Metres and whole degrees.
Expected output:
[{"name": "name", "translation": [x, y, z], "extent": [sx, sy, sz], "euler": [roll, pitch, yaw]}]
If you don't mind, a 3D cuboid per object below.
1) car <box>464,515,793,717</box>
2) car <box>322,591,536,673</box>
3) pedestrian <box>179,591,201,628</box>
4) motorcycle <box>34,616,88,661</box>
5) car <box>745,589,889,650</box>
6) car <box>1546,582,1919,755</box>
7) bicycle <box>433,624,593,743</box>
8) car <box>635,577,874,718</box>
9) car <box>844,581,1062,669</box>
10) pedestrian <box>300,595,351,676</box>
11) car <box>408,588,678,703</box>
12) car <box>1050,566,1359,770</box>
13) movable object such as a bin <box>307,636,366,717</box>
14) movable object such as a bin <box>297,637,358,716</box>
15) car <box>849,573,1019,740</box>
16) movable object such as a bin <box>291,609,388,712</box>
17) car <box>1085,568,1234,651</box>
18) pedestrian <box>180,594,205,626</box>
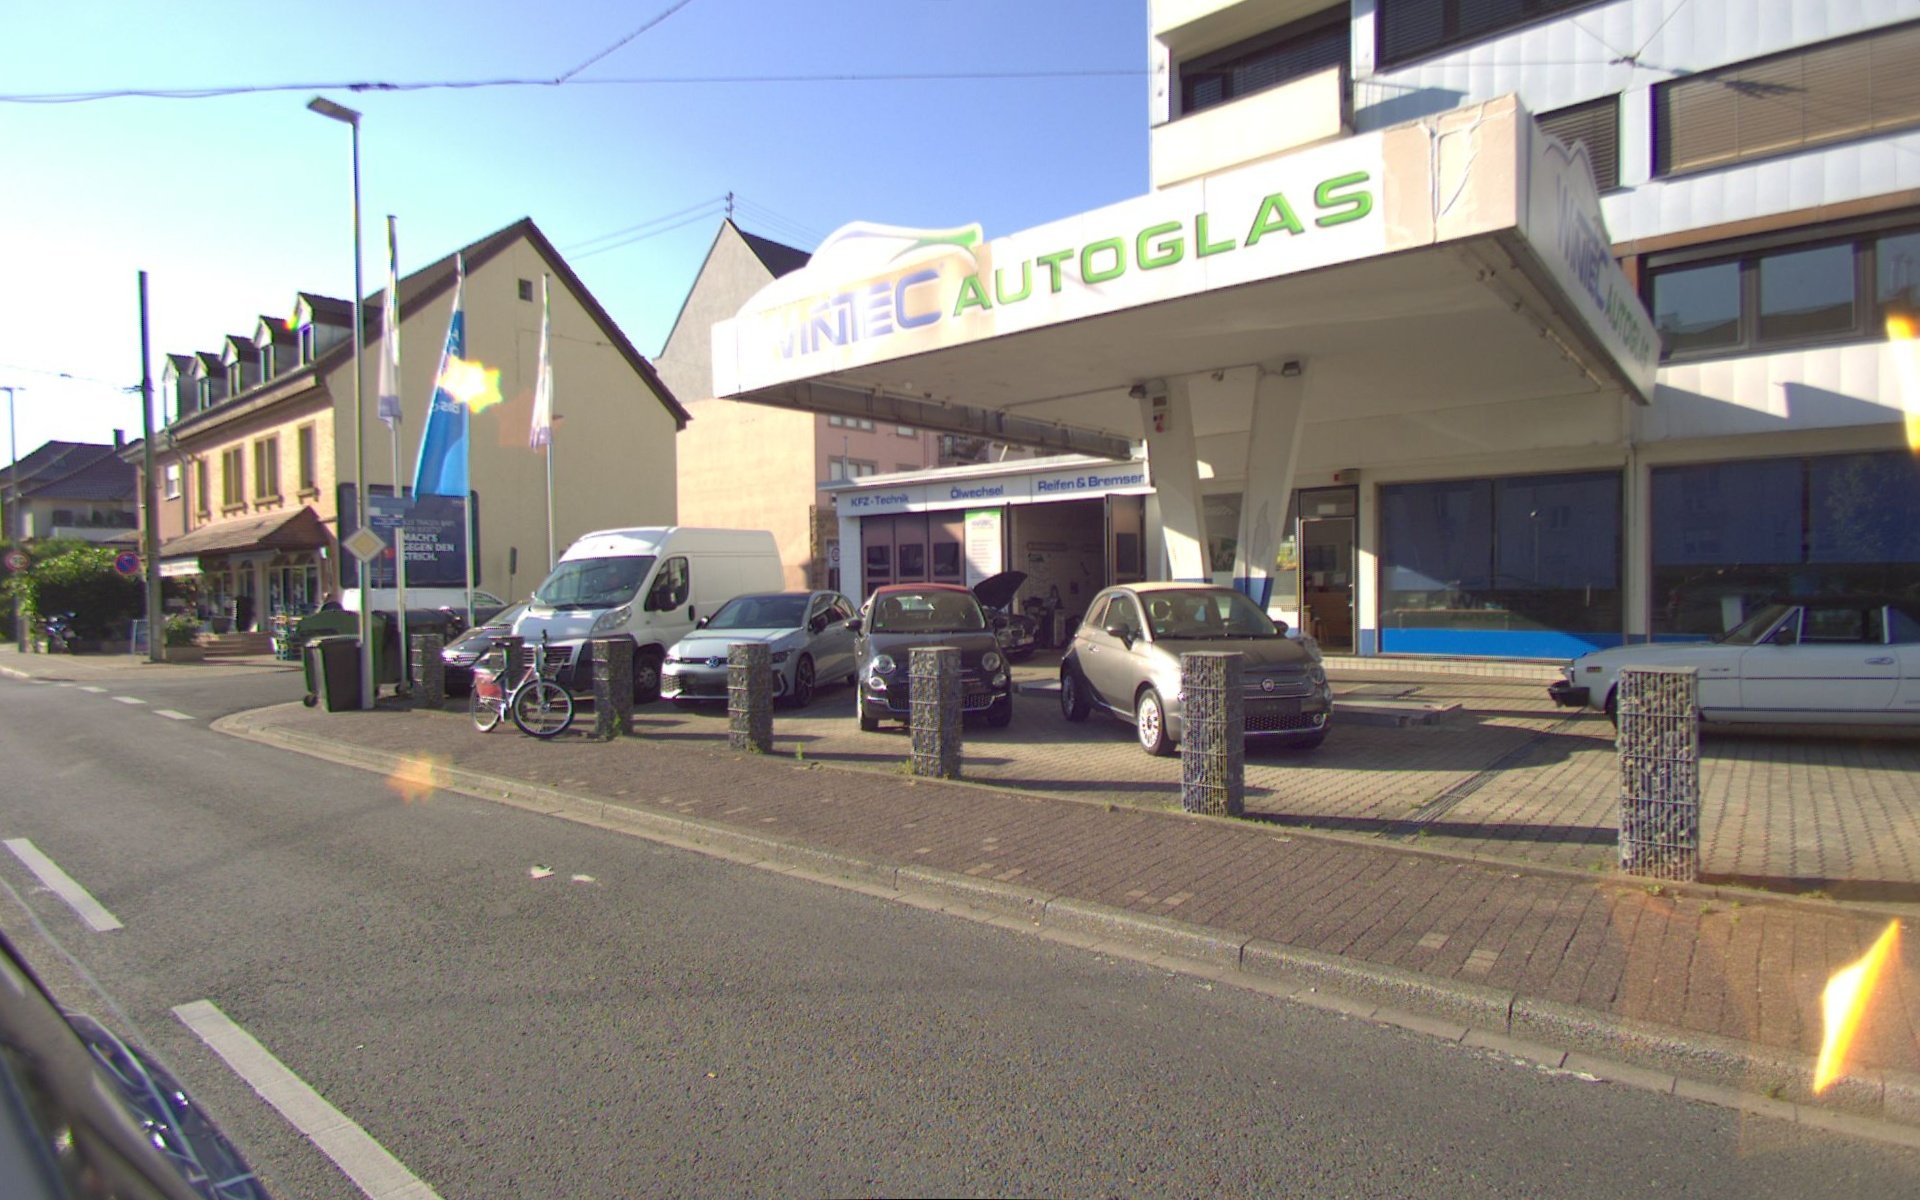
[{"name": "car", "translation": [-4.654, 0.157, 15.238], "extent": [2.091, 2.488, 5.042], "euler": [-1, 1, 18]}, {"name": "car", "translation": [-13.840, 0.755, 26.606], "extent": [1.997, 1.947, 4.571], "euler": [-1, 0, 38]}, {"name": "pedestrian", "translation": [-26.795, 0.326, 35.199], "extent": [0.465, 1.268, 0.517], "euler": [-1, 0, 42]}, {"name": "motorcycle", "translation": [-28.033, 1.174, 31.542], "extent": [2.229, 1.292, 0.831], "euler": [0, 2, 37]}, {"name": "car", "translation": [-4.227, 0.513, 30.351], "extent": [1.999, 1.536, 3.947], "euler": [5, 4, 40]}, {"name": "car", "translation": [7.434, 0.525, 8.551], "extent": [4.131, 1.294, 1.572], "euler": [-2, 0, 37]}, {"name": "bicycle", "translation": [-4.946, 0.877, 11.162], "extent": [1.774, 1.186, 0.718], "euler": [-1, 0, 31]}, {"name": "car", "translation": [-2.558, 0.514, 13.658], "extent": [1.754, 1.580, 3.987], "euler": [-2, 1, 11]}, {"name": "car", "translation": [-0.219, 0.489, 20.758], "extent": [4.311, 1.580, 1.750], "euler": [-1, 1, 39]}, {"name": "pedestrian", "translation": [-15.144, 0.823, 24.151], "extent": [0.795, 1.882, 0.809], "euler": [-1, 0, 40]}, {"name": "car", "translation": [-6.769, 0.658, 16.880], "extent": [1.763, 1.580, 3.966], "euler": [-2, 1, 26]}, {"name": "car", "translation": [2.134, 0.519, 9.791], "extent": [1.595, 1.580, 3.402], "euler": [-1, 1, -11]}, {"name": "movable object such as a bin", "translation": [-8.933, 1.087, 14.491], "extent": [0.631, 1.077, 0.581], "euler": [-2, -2, -38]}, {"name": "movable object such as a bin", "translation": [-9.307, 1.106, 14.885], "extent": [0.652, 1.070, 0.586], "euler": [-4, 1, -38]}, {"name": "car", "translation": [-0.427, 0.526, 11.499], "extent": [1.597, 1.580, 3.399], "euler": [-1, 1, -6]}, {"name": "movable object such as a bin", "translation": [-9.768, 0.935, 15.991], "extent": [1.040, 1.494, 1.316], "euler": [-3, -2, -21]}, {"name": "car", "translation": [4.793, 0.164, 23.833], "extent": [1.769, 1.722, 4.263], "euler": [-2, 1, 36]}, {"name": "pedestrian", "translation": [-25.976, 0.337, 34.254], "extent": [0.381, 1.055, 0.521], "euler": [-1, 0, 24]}]
